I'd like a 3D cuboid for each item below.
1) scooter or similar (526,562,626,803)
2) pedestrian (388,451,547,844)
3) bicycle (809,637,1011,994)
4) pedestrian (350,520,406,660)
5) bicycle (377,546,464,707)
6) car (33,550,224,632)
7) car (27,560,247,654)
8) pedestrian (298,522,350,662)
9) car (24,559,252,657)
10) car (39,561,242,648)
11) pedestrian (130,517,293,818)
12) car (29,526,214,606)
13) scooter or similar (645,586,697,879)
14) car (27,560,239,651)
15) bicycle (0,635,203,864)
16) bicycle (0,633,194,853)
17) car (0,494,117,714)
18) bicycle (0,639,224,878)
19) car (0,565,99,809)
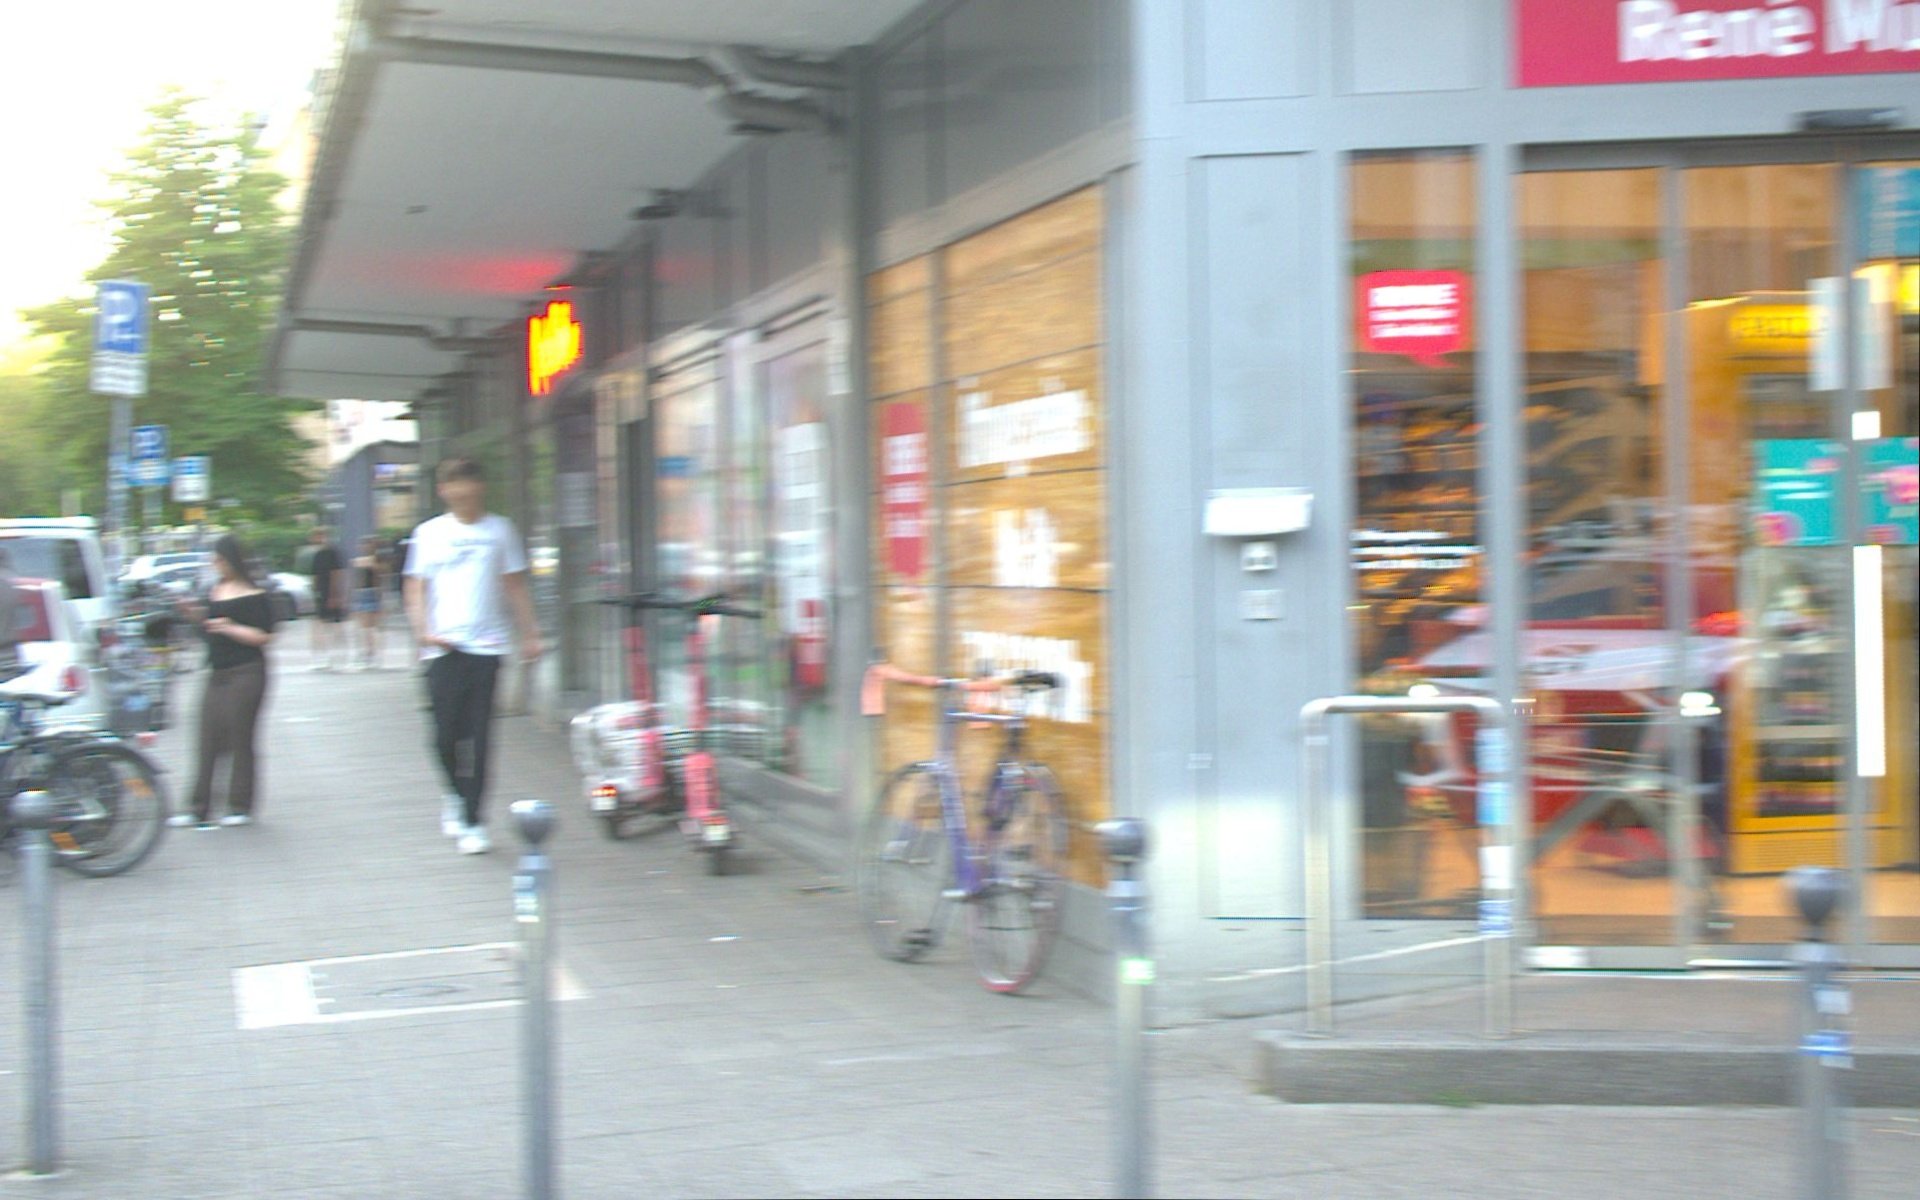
[{"bbox_3d":[-2.153,0.436,19.170,0.439,1.286,1.668,0,0,-10],"label":"scooter or similar"},{"bbox_3d":[-2.441,0.229,17.003,0.719,1.900,0.703,0,0,-12],"label":"pedestrian"},{"bbox_3d":[-0.176,0.684,11.336,0.289,1.109,0.966,0,0,-25],"label":"bicycle"},{"bbox_3d":[-7.525,-0.129,44.466,0.635,1.805,0.484,0,0,0],"label":"pedestrian"},{"bbox_3d":[-4.879,0.225,31.003,0.555,1.403,2.096,0,0,-15],"label":"bicycle"},{"bbox_3d":[-18.043,-0.191,74.697,3.986,1.744,1.841,0,0,-13],"label":"car"},{"bbox_3d":[-15.549,0.132,65.032,3.986,1.744,1.841,0,0,-13],"label":"car"},{"bbox_3d":[-8.294,-0.107,44.815,0.626,1.805,0.789,0,0,-12],"label":"pedestrian"},{"bbox_3d":[-15.008,0.146,62.859,3.986,1.744,1.841,0,0,-13],"label":"car"},{"bbox_3d":[-16.779,0.097,70.474,3.986,1.744,1.841,0,0,-13],"label":"car"},{"bbox_3d":[-4.196,0.370,19.316,0.720,1.657,0.702,0,0,4],"label":"pedestrian"},{"bbox_3d":[-18.919,-0.760,77.646,3.986,1.744,1.841,0,0,-13],"label":"car"},{"bbox_3d":[-1.292,0.570,15.337,0.219,1.233,0.966,0,2,-5],"label":"scooter or similar"},{"bbox_3d":[-16.249,0.114,67.604,3.986,1.744,1.841,0,0,-13],"label":"car"},{"bbox_3d":[-5.034,0.779,16.893,2.460,1.035,0.617,-4,1,-17],"label":"bicycle"},{"bbox_3d":[-5.218,0.774,17.539,2.460,1.035,0.617,-4,1,-17],"label":"bicycle"},{"bbox_3d":[-8.904,0.023,32.108,1.942,1.927,4.001,0,0,-13],"label":"car"},{"bbox_3d":[-4.787,0.792,16.251,2.460,1.035,0.617,-4,1,-17],"label":"bicycle"},{"bbox_3d":[-6.879,0.535,23.563,1.834,1.536,4.001,0,0,-13],"label":"car"}]
